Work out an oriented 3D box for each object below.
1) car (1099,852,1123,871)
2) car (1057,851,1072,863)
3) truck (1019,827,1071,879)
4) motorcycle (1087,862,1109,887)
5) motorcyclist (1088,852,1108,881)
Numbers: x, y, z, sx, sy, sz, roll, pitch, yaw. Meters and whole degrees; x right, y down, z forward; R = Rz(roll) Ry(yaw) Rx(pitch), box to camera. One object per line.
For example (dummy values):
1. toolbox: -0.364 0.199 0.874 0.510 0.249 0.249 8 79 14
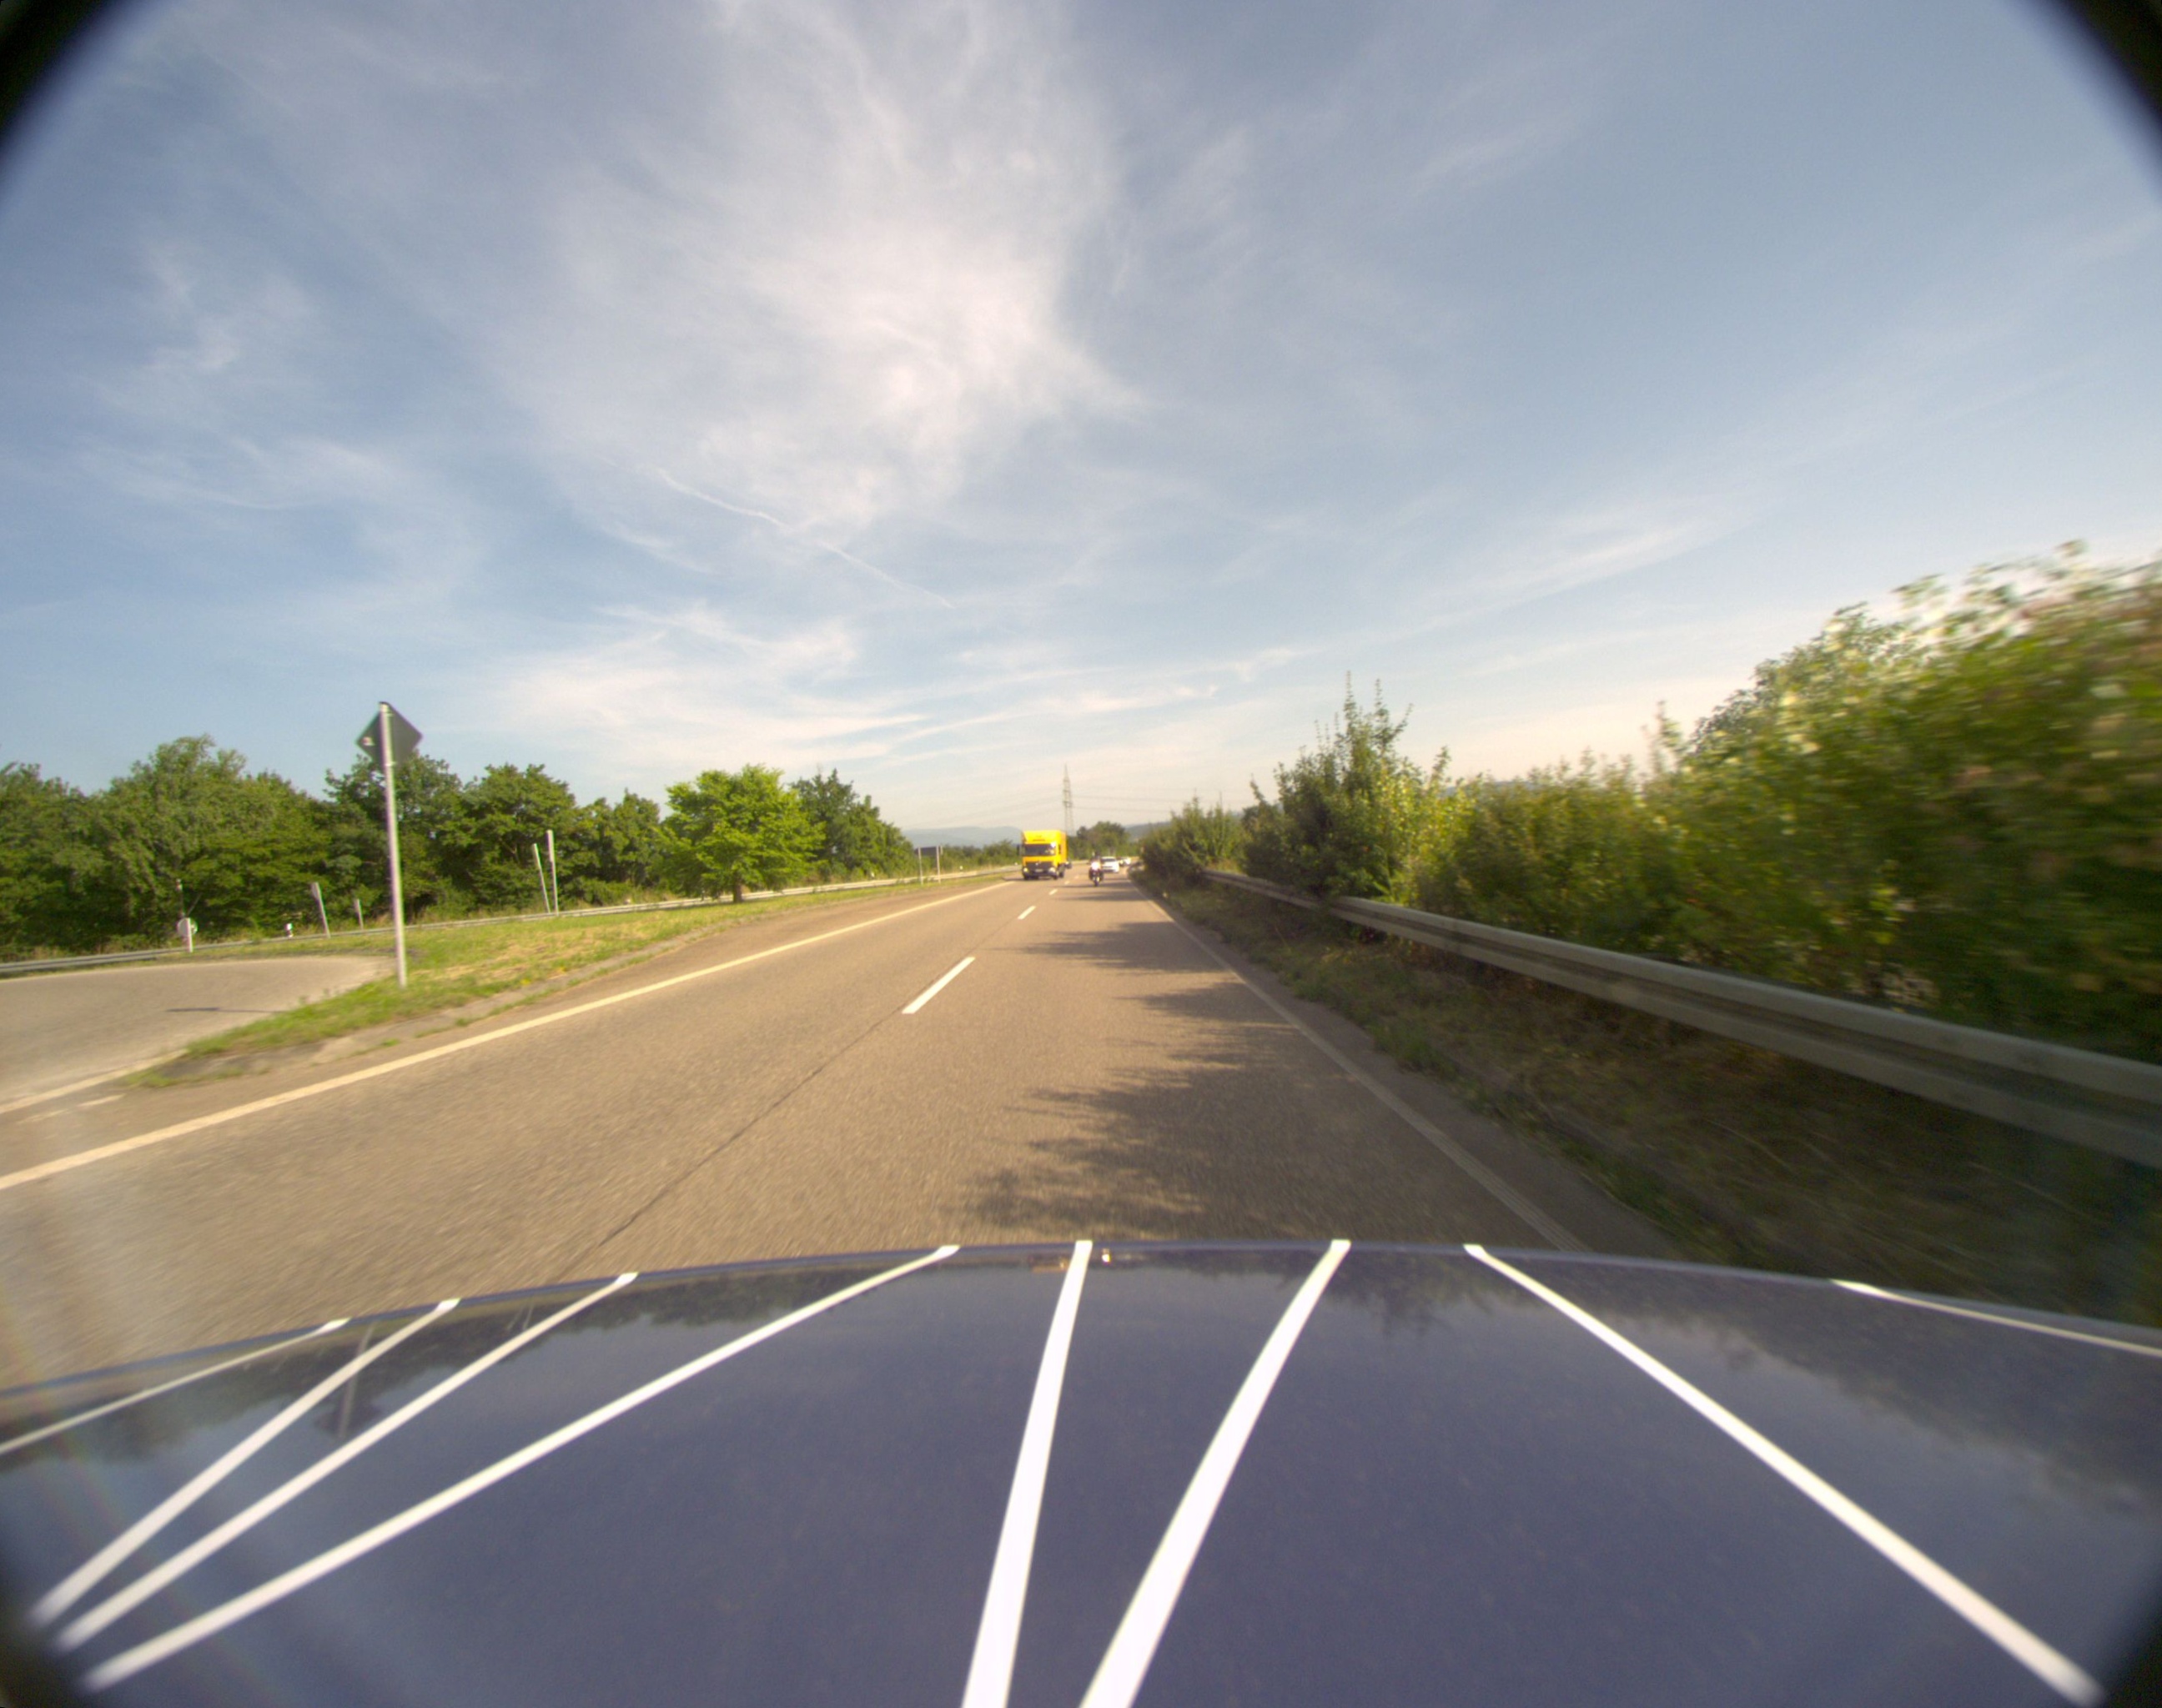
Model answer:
1. car: 2.708 0.629 67.241 1.868 1.454 4.084 -2 1 5
2. car: -2.313 0.426 106.697 1.878 1.630 4.000 -2 0 2
3. truck: -2.442 -0.056 54.946 2.785 3.297 10.490 -2 0 2
4. motorcycle: 0.858 0.996 37.696 0.937 1.131 2.582 -2 1 4
5. motorcyclist: 0.855 0.614 37.696 0.937 1.344 1.143 -2 1 4
